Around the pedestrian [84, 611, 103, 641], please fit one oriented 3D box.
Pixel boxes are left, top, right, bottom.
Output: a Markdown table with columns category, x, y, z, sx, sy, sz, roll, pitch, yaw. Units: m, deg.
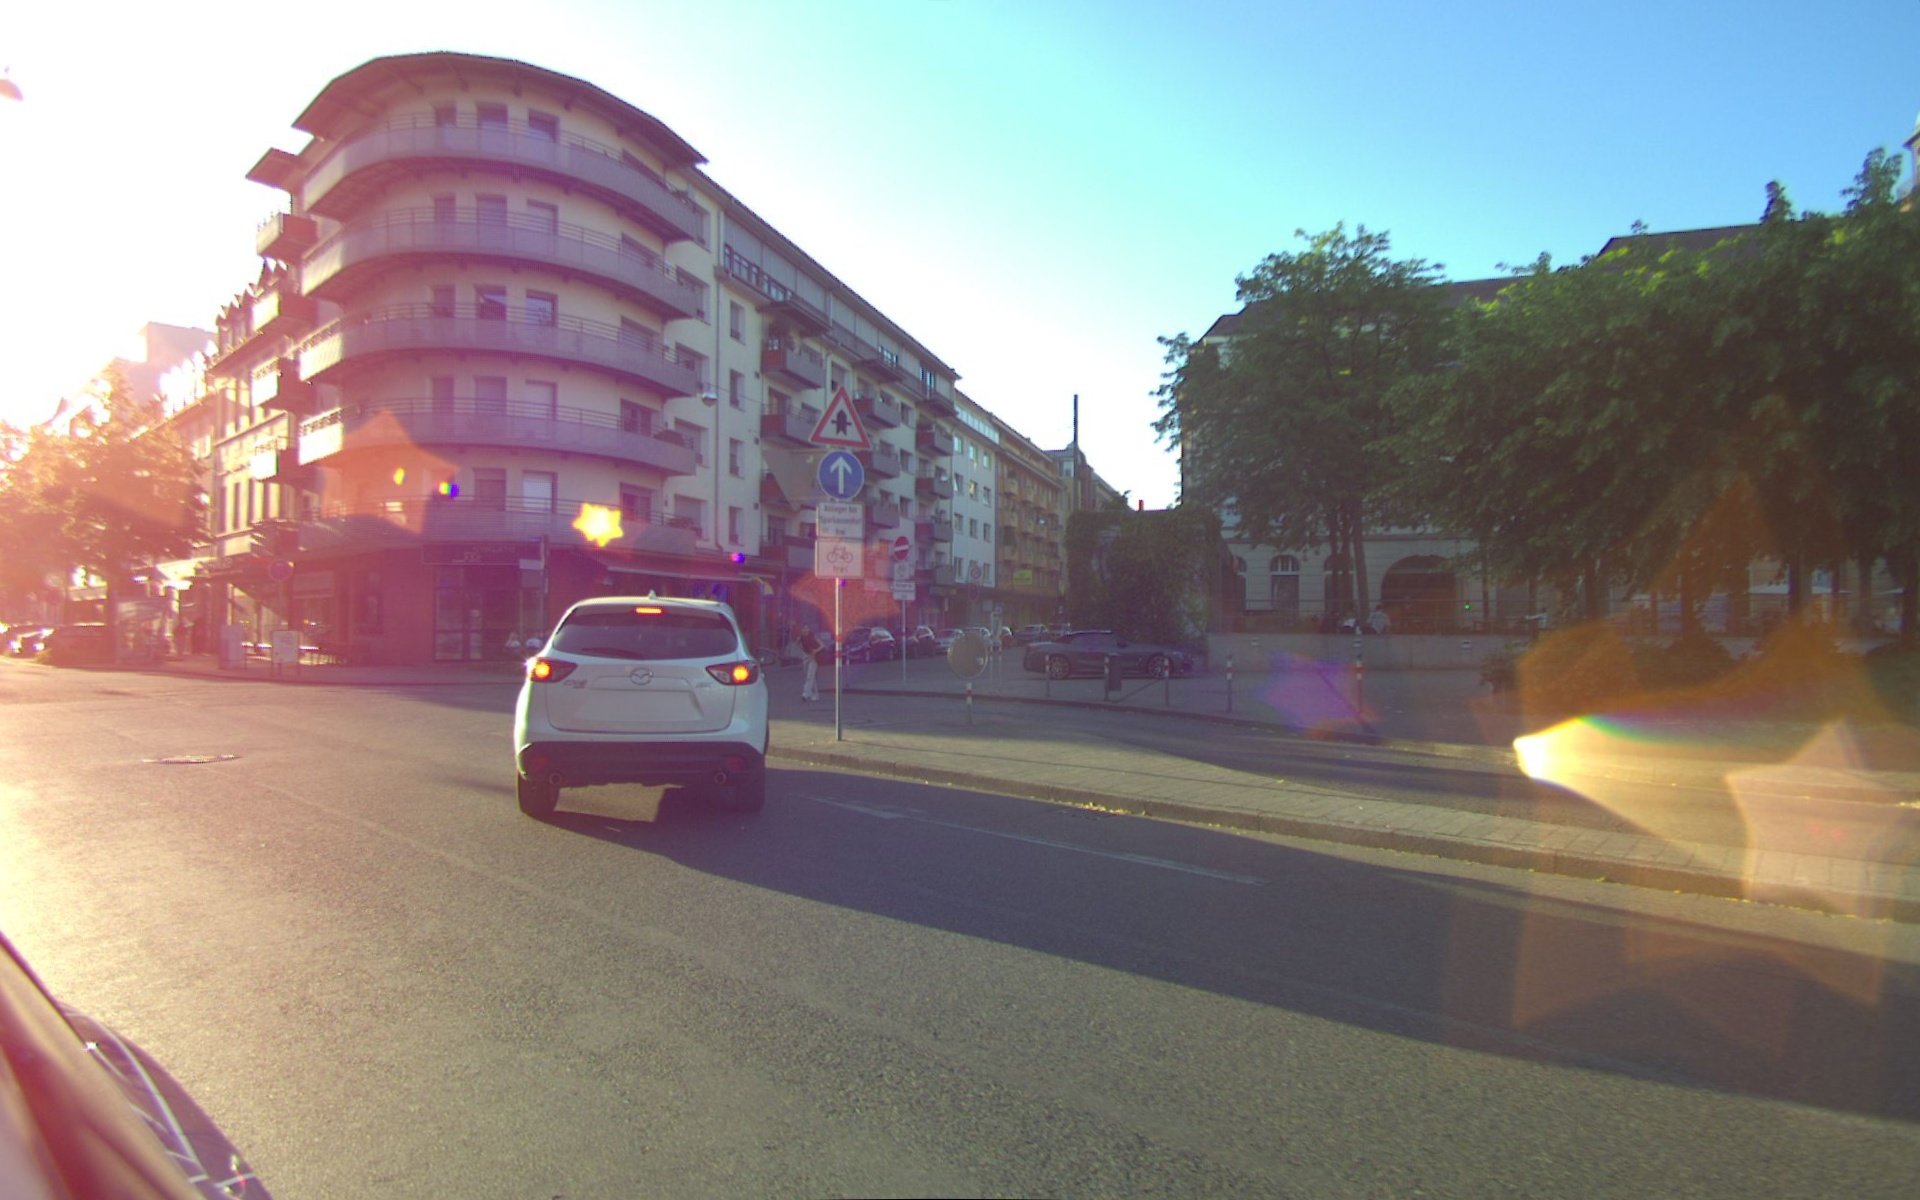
| category | x | y | z | sx | sy | sz | roll | pitch | yaw |
| --- | --- | --- | --- | --- | --- | --- | --- | --- | --- |
| pedestrian | -52.170 | 1.561 | 60.907 | 0.875 | 1.734 | 0.763 | 0 | 0 | 42 |

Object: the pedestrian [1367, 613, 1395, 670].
| category | x | y | z | sx | sy | sz | roll | pitch | yaw |
| --- | --- | --- | --- | --- | --- | --- | --- | --- | --- |
| pedestrian | 12.274 | 1.204 | 29.516 | 0.696 | 1.598 | 0.618 | 1 | -1 | 18 |

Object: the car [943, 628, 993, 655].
| category | x | y | z | sx | sy | sz | roll | pitch | yaw |
| --- | --- | --- | --- | --- | --- | --- | --- | --- | --- |
| car | 0.543 | 2.493 | 61.607 | 1.954 | 1.608 | 3.976 | -1 | -2 | 18 |

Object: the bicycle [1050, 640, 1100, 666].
| category | x | y | z | sx | sy | sz | roll | pitch | yaw |
| --- | --- | --- | --- | --- | --- | --- | --- | --- | --- |
| bicycle | 4.222 | 1.957 | 37.218 | 1.783 | 0.930 | 0.509 | -1 | -2 | 8 |

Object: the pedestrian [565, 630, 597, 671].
| category | x | y | z | sx | sy | sz | roll | pitch | yaw |
| --- | --- | --- | --- | --- | --- | --- | --- | --- | --- |
| pedestrian | -11.980 | 1.572 | 31.965 | 0.699 | 1.256 | 0.615 | 1 | -1 | 32 |

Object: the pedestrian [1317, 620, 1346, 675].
| category | x | y | z | sx | sy | sz | roll | pitch | yaw |
| --- | --- | --- | --- | --- | --- | --- | --- | --- | --- |
| pedestrian | 10.981 | 1.395 | 29.950 | 0.764 | 1.598 | 0.686 | 1 | -1 | 18 |

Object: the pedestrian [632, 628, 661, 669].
| category | x | y | z | sx | sy | sz | roll | pitch | yaw |
| --- | --- | --- | --- | --- | --- | --- | --- | --- | --- |
| pedestrian | -10.668 | 1.641 | 34.486 | 0.699 | 1.343 | 0.615 | 1 | -1 | 32 |

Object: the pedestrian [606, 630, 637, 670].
| category | x | y | z | sx | sy | sz | roll | pitch | yaw |
| --- | --- | --- | --- | --- | --- | --- | --- | --- | --- |
| pedestrian | -11.206 | 1.655 | 33.470 | 0.699 | 1.297 | 0.649 | 1 | -1 | 32 |

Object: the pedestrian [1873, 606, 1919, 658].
| category | x | y | z | sx | sy | sz | roll | pitch | yaw |
| --- | --- | --- | --- | --- | --- | --- | --- | --- | --- |
| pedestrian | 23.967 | 0.805 | 25.863 | 0.648 | 1.289 | 0.787 | 1 | -1 | 16 |

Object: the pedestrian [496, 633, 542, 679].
| category | x | y | z | sx | sy | sz | roll | pitch | yaw |
| --- | --- | --- | --- | --- | --- | --- | --- | --- | --- |
| pedestrian | -12.463 | 1.558 | 28.619 | 0.765 | 1.251 | 0.890 | 1 | -1 | 33 |

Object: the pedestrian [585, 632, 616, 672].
| category | x | y | z | sx | sy | sz | roll | pitch | yaw |
| --- | --- | --- | --- | --- | --- | --- | --- | --- | --- |
| pedestrian | -11.568 | 1.665 | 32.547 | 0.699 | 1.256 | 0.615 | 1 | -1 | 32 |

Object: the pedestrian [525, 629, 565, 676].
| category | x | y | z | sx | sy | sz | roll | pitch | yaw |
| --- | --- | --- | --- | --- | --- | --- | --- | --- | --- |
| pedestrian | -12.400 | 1.549 | 30.240 | 0.827 | 1.358 | 0.740 | 0 | -1 | 35 |

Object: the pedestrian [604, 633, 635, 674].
| category | x | y | z | sx | sy | sz | roll | pitch | yaw |
| --- | --- | --- | --- | --- | --- | --- | --- | --- | --- |
| pedestrian | -10.780 | 1.678 | 32.060 | 0.699 | 1.256 | 0.615 | 1 | -1 | 32 |

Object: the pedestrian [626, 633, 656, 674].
| category | x | y | z | sx | sy | sz | roll | pitch | yaw |
| --- | --- | --- | --- | --- | --- | --- | --- | --- | --- |
| pedestrian | -10.354 | 1.724 | 32.844 | 0.699 | 1.297 | 0.615 | 1 | -1 | 32 |

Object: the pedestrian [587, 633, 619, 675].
| category | x | y | z | sx | sy | sz | roll | pitch | yaw |
| --- | --- | --- | --- | --- | --- | --- | --- | --- | --- |
| pedestrian | -11.092 | 1.674 | 31.432 | 0.699 | 1.256 | 0.615 | 1 | -1 | 32 |

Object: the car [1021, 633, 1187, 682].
| category | x | y | z | sx | sy | sz | roll | pitch | yaw |
| --- | --- | --- | --- | --- | --- | --- | --- | --- | --- |
| car | 4.066 | 1.610 | 28.618 | 4.480 | 1.328 | 1.993 | -1 | -2 | 11 |

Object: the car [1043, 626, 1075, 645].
| category | x | y | z | sx | sy | sz | roll | pitch | yaw |
| --- | --- | --- | --- | --- | --- | --- | --- | --- | --- |
| car | 8.514 | 3.018 | 86.513 | 1.954 | 1.608 | 3.976 | -1 | -2 | 18 |

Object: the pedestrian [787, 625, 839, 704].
| category | x | y | z | sx | sy | sz | roll | pitch | yaw |
| --- | --- | --- | --- | --- | --- | --- | --- | --- | --- |
| pedestrian | -2.997 | 1.303 | 20.671 | 0.761 | 1.579 | 0.895 | -1 | -2 | 16 |

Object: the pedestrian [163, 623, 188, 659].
| category | x | y | z | sx | sy | sz | roll | pitch | yaw |
| --- | --- | --- | --- | --- | --- | --- | --- | --- | --- |
| pedestrian | -35.294 | 1.830 | 45.522 | 0.875 | 1.539 | 0.726 | 0 | 0 | 42 |

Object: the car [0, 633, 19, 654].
| category | x | y | z | sx | sy | sz | roll | pitch | yaw |
| --- | --- | --- | --- | --- | --- | --- | --- | --- | --- |
| car | -70.695 | 3.136 | 72.814 | 1.744 | 1.495 | 4.229 | -2 | -2 | 42 |

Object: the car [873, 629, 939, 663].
| category | x | y | z | sx | sy | sz | roll | pitch | yaw |
| --- | --- | --- | --- | --- | --- | --- | --- | --- | --- |
| car | -2.625 | 2.226 | 49.936 | 1.954 | 1.608 | 3.976 | -1 | -2 | 18 |

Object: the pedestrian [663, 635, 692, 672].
| category | x | y | z | sx | sy | sz | roll | pitch | yaw |
| --- | --- | --- | --- | --- | --- | --- | --- | --- | --- |
| pedestrian | -9.768 | 1.845 | 35.015 | 0.698 | 1.234 | 0.616 | 1 | -1 | 28 |

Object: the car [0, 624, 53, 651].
| category | x | y | z | sx | sy | sz | roll | pitch | yaw |
| --- | --- | --- | --- | --- | --- | --- | --- | --- | --- |
| car | -59.318 | 2.346 | 62.771 | 1.889 | 1.608 | 4.361 | -2 | -1 | 40 |

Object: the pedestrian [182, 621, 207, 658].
| category | x | y | z | sx | sy | sz | roll | pitch | yaw |
| --- | --- | --- | --- | --- | --- | --- | --- | --- | --- |
| pedestrian | -34.806 | 1.796 | 46.035 | 0.875 | 1.620 | 0.763 | 0 | 0 | 42 |

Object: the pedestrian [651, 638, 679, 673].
| category | x | y | z | sx | sy | sz | roll | pitch | yaw |
| --- | --- | --- | --- | --- | --- | --- | --- | --- | --- |
| pedestrian | -10.525 | 1.973 | 36.118 | 0.698 | 1.234 | 0.616 | 1 | -1 | 28 |

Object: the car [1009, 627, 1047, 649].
| category | x | y | z | sx | sy | sz | roll | pitch | yaw |
| --- | --- | --- | --- | --- | --- | --- | --- | --- | --- |
| car | 5.119 | 2.841 | 76.051 | 1.954 | 1.608 | 3.976 | -1 | -2 | 18 |

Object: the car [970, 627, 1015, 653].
| category | x | y | z | sx | sy | sz | roll | pitch | yaw |
| --- | --- | --- | --- | --- | --- | --- | --- | --- | --- |
| car | 2.149 | 2.567 | 65.800 | 1.954 | 1.608 | 3.976 | -1 | -2 | 18 |

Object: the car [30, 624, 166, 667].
| category | x | y | z | sx | sy | sz | roll | pitch | yaw |
| --- | --- | --- | --- | --- | --- | --- | --- | --- | --- |
| car | -35.075 | 1.810 | 41.246 | 1.883 | 1.548 | 4.030 | -2 | -1 | 41 |

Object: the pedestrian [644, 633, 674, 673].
| category | x | y | z | sx | sy | sz | roll | pitch | yaw |
| --- | --- | --- | --- | --- | --- | --- | --- | --- | --- |
| pedestrian | -10.005 | 1.744 | 33.639 | 0.699 | 1.297 | 0.615 | 1 | -1 | 32 |

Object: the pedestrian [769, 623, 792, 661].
| category | x | y | z | sx | sy | sz | roll | pitch | yaw |
| --- | --- | --- | --- | --- | --- | --- | --- | --- | --- |
| pedestrian | -7.226 | 1.691 | 40.786 | 0.616 | 1.480 | 0.698 | 1 | -1 | 15 |

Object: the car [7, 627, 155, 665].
| category | x | y | z | sx | sy | sz | roll | pitch | yaw |
| --- | --- | --- | --- | --- | --- | --- | --- | --- | --- |
| car | -37.069 | 1.902 | 42.765 | 1.820 | 1.418 | 4.524 | -2 | -1 | 40 |

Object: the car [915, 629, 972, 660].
| category | x | y | z | sx | sy | sz | roll | pitch | yaw |
| --- | --- | --- | --- | --- | --- | --- | --- | --- | --- |
| car | -0.837 | 2.417 | 55.256 | 1.954 | 1.608 | 3.976 | -1 | -2 | 18 |

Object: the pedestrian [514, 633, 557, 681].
| category | x | y | z | sx | sy | sz | roll | pitch | yaw |
| --- | --- | --- | --- | --- | --- | --- | --- | --- | --- |
| pedestrian | -11.894 | 1.585 | 28.360 | 0.746 | 1.283 | 0.820 | 1 | -1 | 33 |

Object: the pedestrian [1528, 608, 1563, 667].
| category | x | y | z | sx | sy | sz | roll | pitch | yaw |
| --- | --- | --- | --- | --- | --- | --- | --- | --- | --- |
| pedestrian | 16.260 | 1.034 | 28.103 | 0.648 | 1.598 | 0.787 | 1 | -1 | 16 |

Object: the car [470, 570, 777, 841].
| category | x | y | z | sx | sy | sz | roll | pitch | yaw |
| --- | --- | --- | --- | --- | --- | --- | --- | --- | --- |
| car | -2.759 | 0.756 | 9.042 | 1.967 | 1.774 | 4.477 | 0 | -2 | -13 |

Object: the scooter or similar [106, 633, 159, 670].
| category | x | y | z | sx | sy | sz | roll | pitch | yaw |
| --- | --- | --- | --- | --- | --- | --- | --- | --- | --- |
| scooter or similar | -29.515 | 1.827 | 36.116 | 0.525 | 1.235 | 1.384 | -2 | -1 | 38 |

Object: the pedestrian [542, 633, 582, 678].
| category | x | y | z | sx | sy | sz | roll | pitch | yaw |
| --- | --- | --- | --- | --- | --- | --- | --- | --- | --- |
| pedestrian | -11.627 | 1.604 | 29.586 | 0.827 | 1.256 | 0.715 | 0 | -1 | 35 |

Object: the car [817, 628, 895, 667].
| category | x | y | z | sx | sy | sz | roll | pitch | yaw |
| --- | --- | --- | --- | --- | --- | --- | --- | --- | --- |
| car | -4.488 | 2.037 | 44.342 | 1.954 | 1.608 | 3.976 | -1 | -2 | 18 |
